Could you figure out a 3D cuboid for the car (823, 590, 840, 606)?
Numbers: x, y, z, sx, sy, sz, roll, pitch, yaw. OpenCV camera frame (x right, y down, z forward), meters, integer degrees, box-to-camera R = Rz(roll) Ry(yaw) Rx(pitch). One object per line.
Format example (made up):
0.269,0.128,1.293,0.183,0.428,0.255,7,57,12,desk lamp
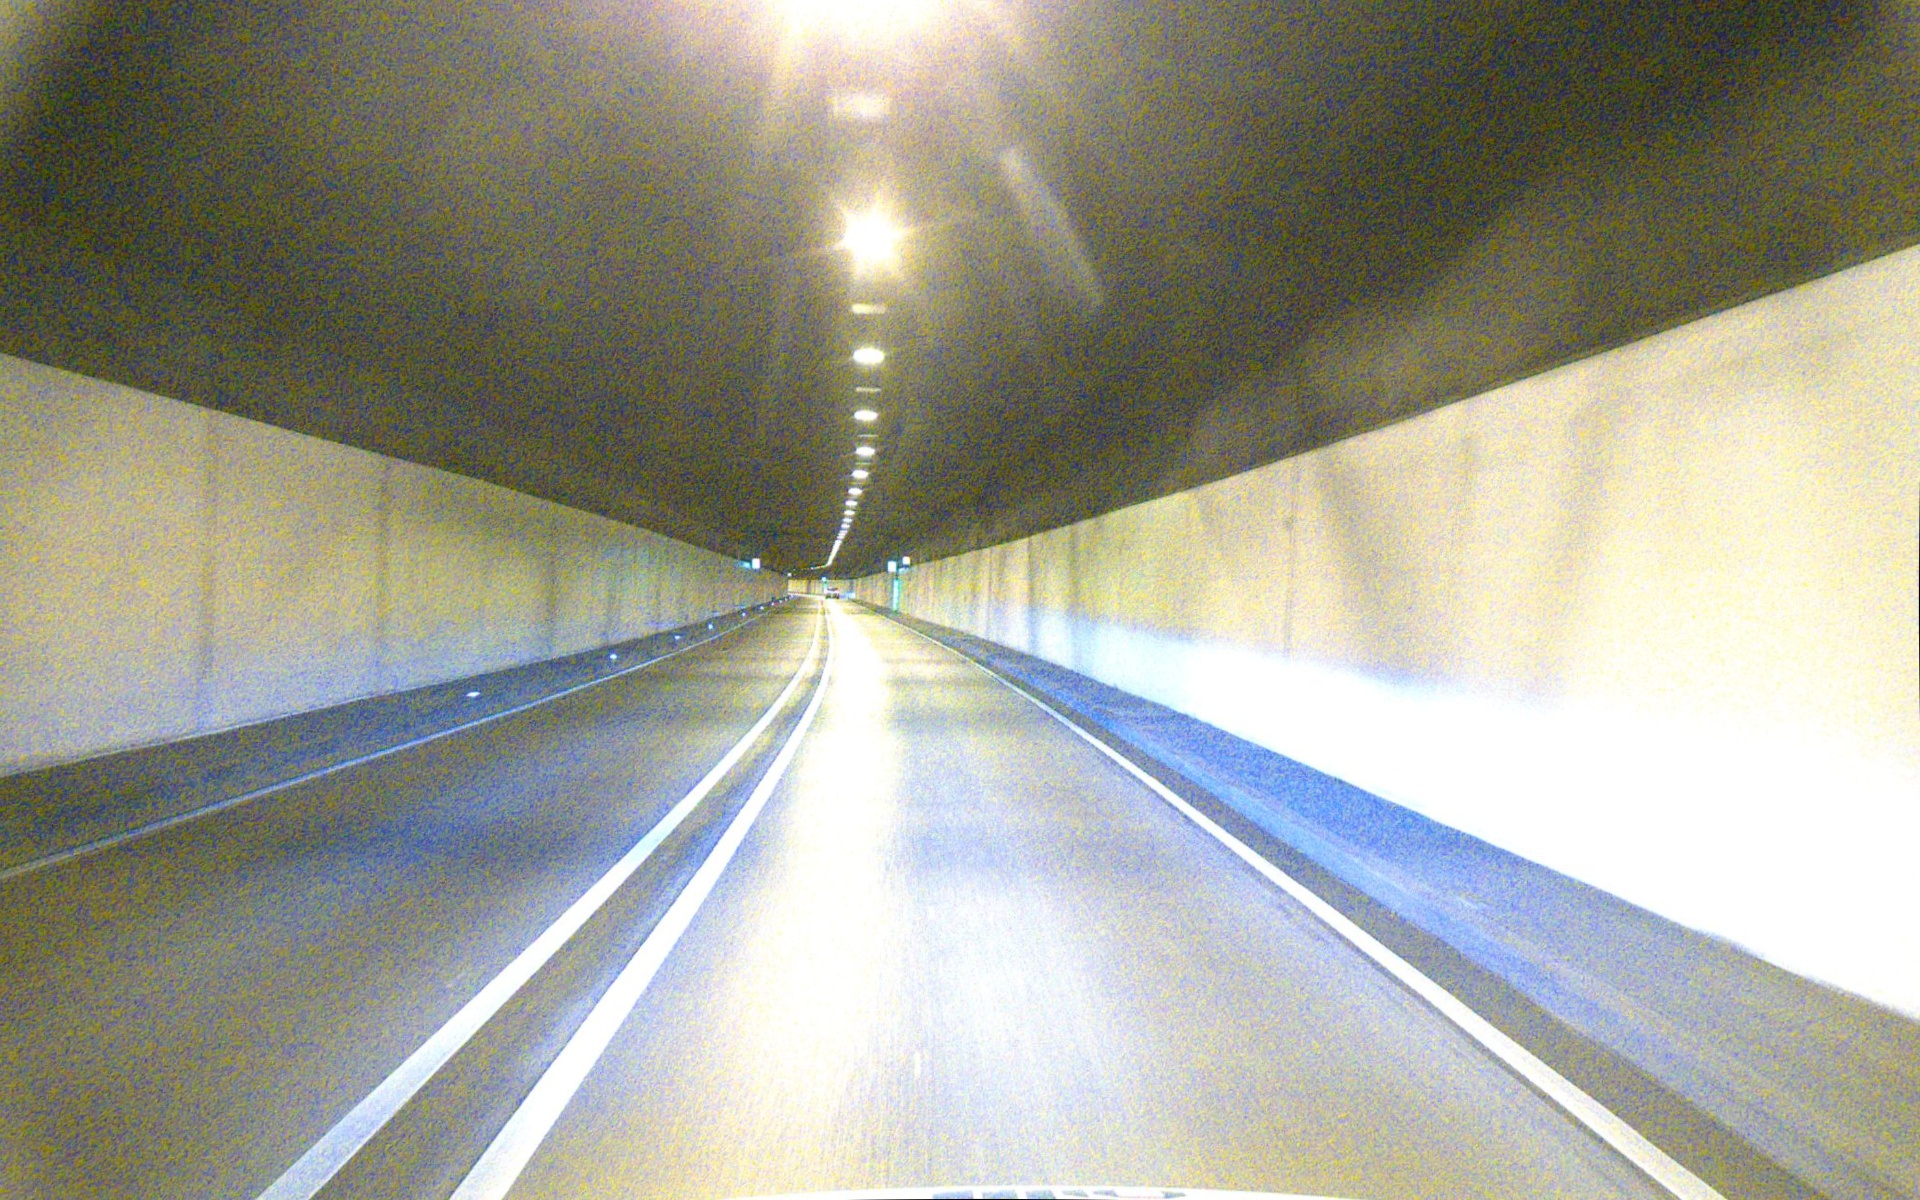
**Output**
-17.206,-0.234,221.533,1.931,1.973,4.602,2,-1,-9,car
